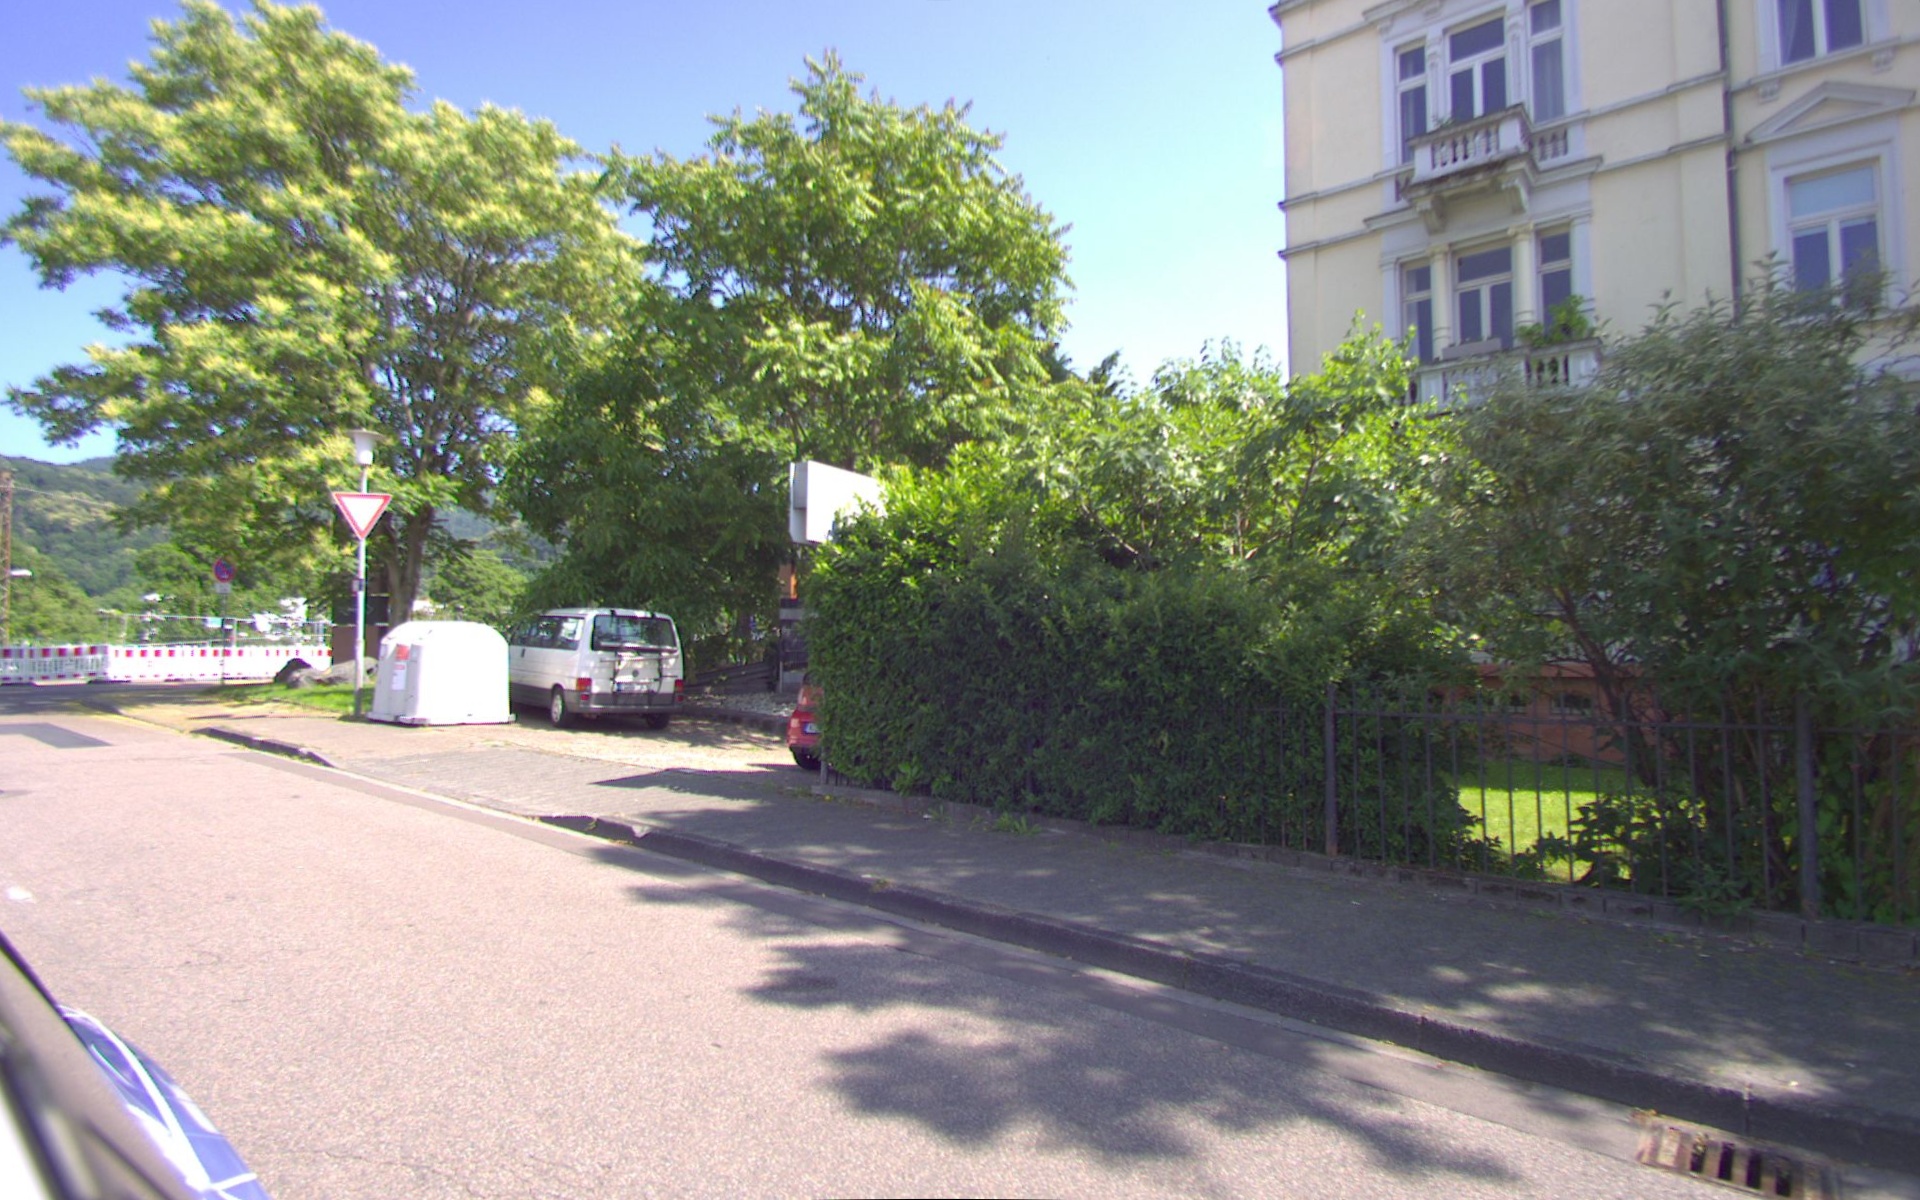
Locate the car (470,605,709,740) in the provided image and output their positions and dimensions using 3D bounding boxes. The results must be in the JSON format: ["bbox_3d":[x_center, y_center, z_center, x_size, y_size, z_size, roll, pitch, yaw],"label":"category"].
[{"bbox_3d":[-6.448,1.125,17.224,1.969,1.945,5.107,6,-4,-42],"label":"car"}]

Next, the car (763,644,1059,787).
[{"bbox_3d":[-0.495,1.424,12.406,1.650,1.477,3.375,-2,-8,43],"label":"car"}]
